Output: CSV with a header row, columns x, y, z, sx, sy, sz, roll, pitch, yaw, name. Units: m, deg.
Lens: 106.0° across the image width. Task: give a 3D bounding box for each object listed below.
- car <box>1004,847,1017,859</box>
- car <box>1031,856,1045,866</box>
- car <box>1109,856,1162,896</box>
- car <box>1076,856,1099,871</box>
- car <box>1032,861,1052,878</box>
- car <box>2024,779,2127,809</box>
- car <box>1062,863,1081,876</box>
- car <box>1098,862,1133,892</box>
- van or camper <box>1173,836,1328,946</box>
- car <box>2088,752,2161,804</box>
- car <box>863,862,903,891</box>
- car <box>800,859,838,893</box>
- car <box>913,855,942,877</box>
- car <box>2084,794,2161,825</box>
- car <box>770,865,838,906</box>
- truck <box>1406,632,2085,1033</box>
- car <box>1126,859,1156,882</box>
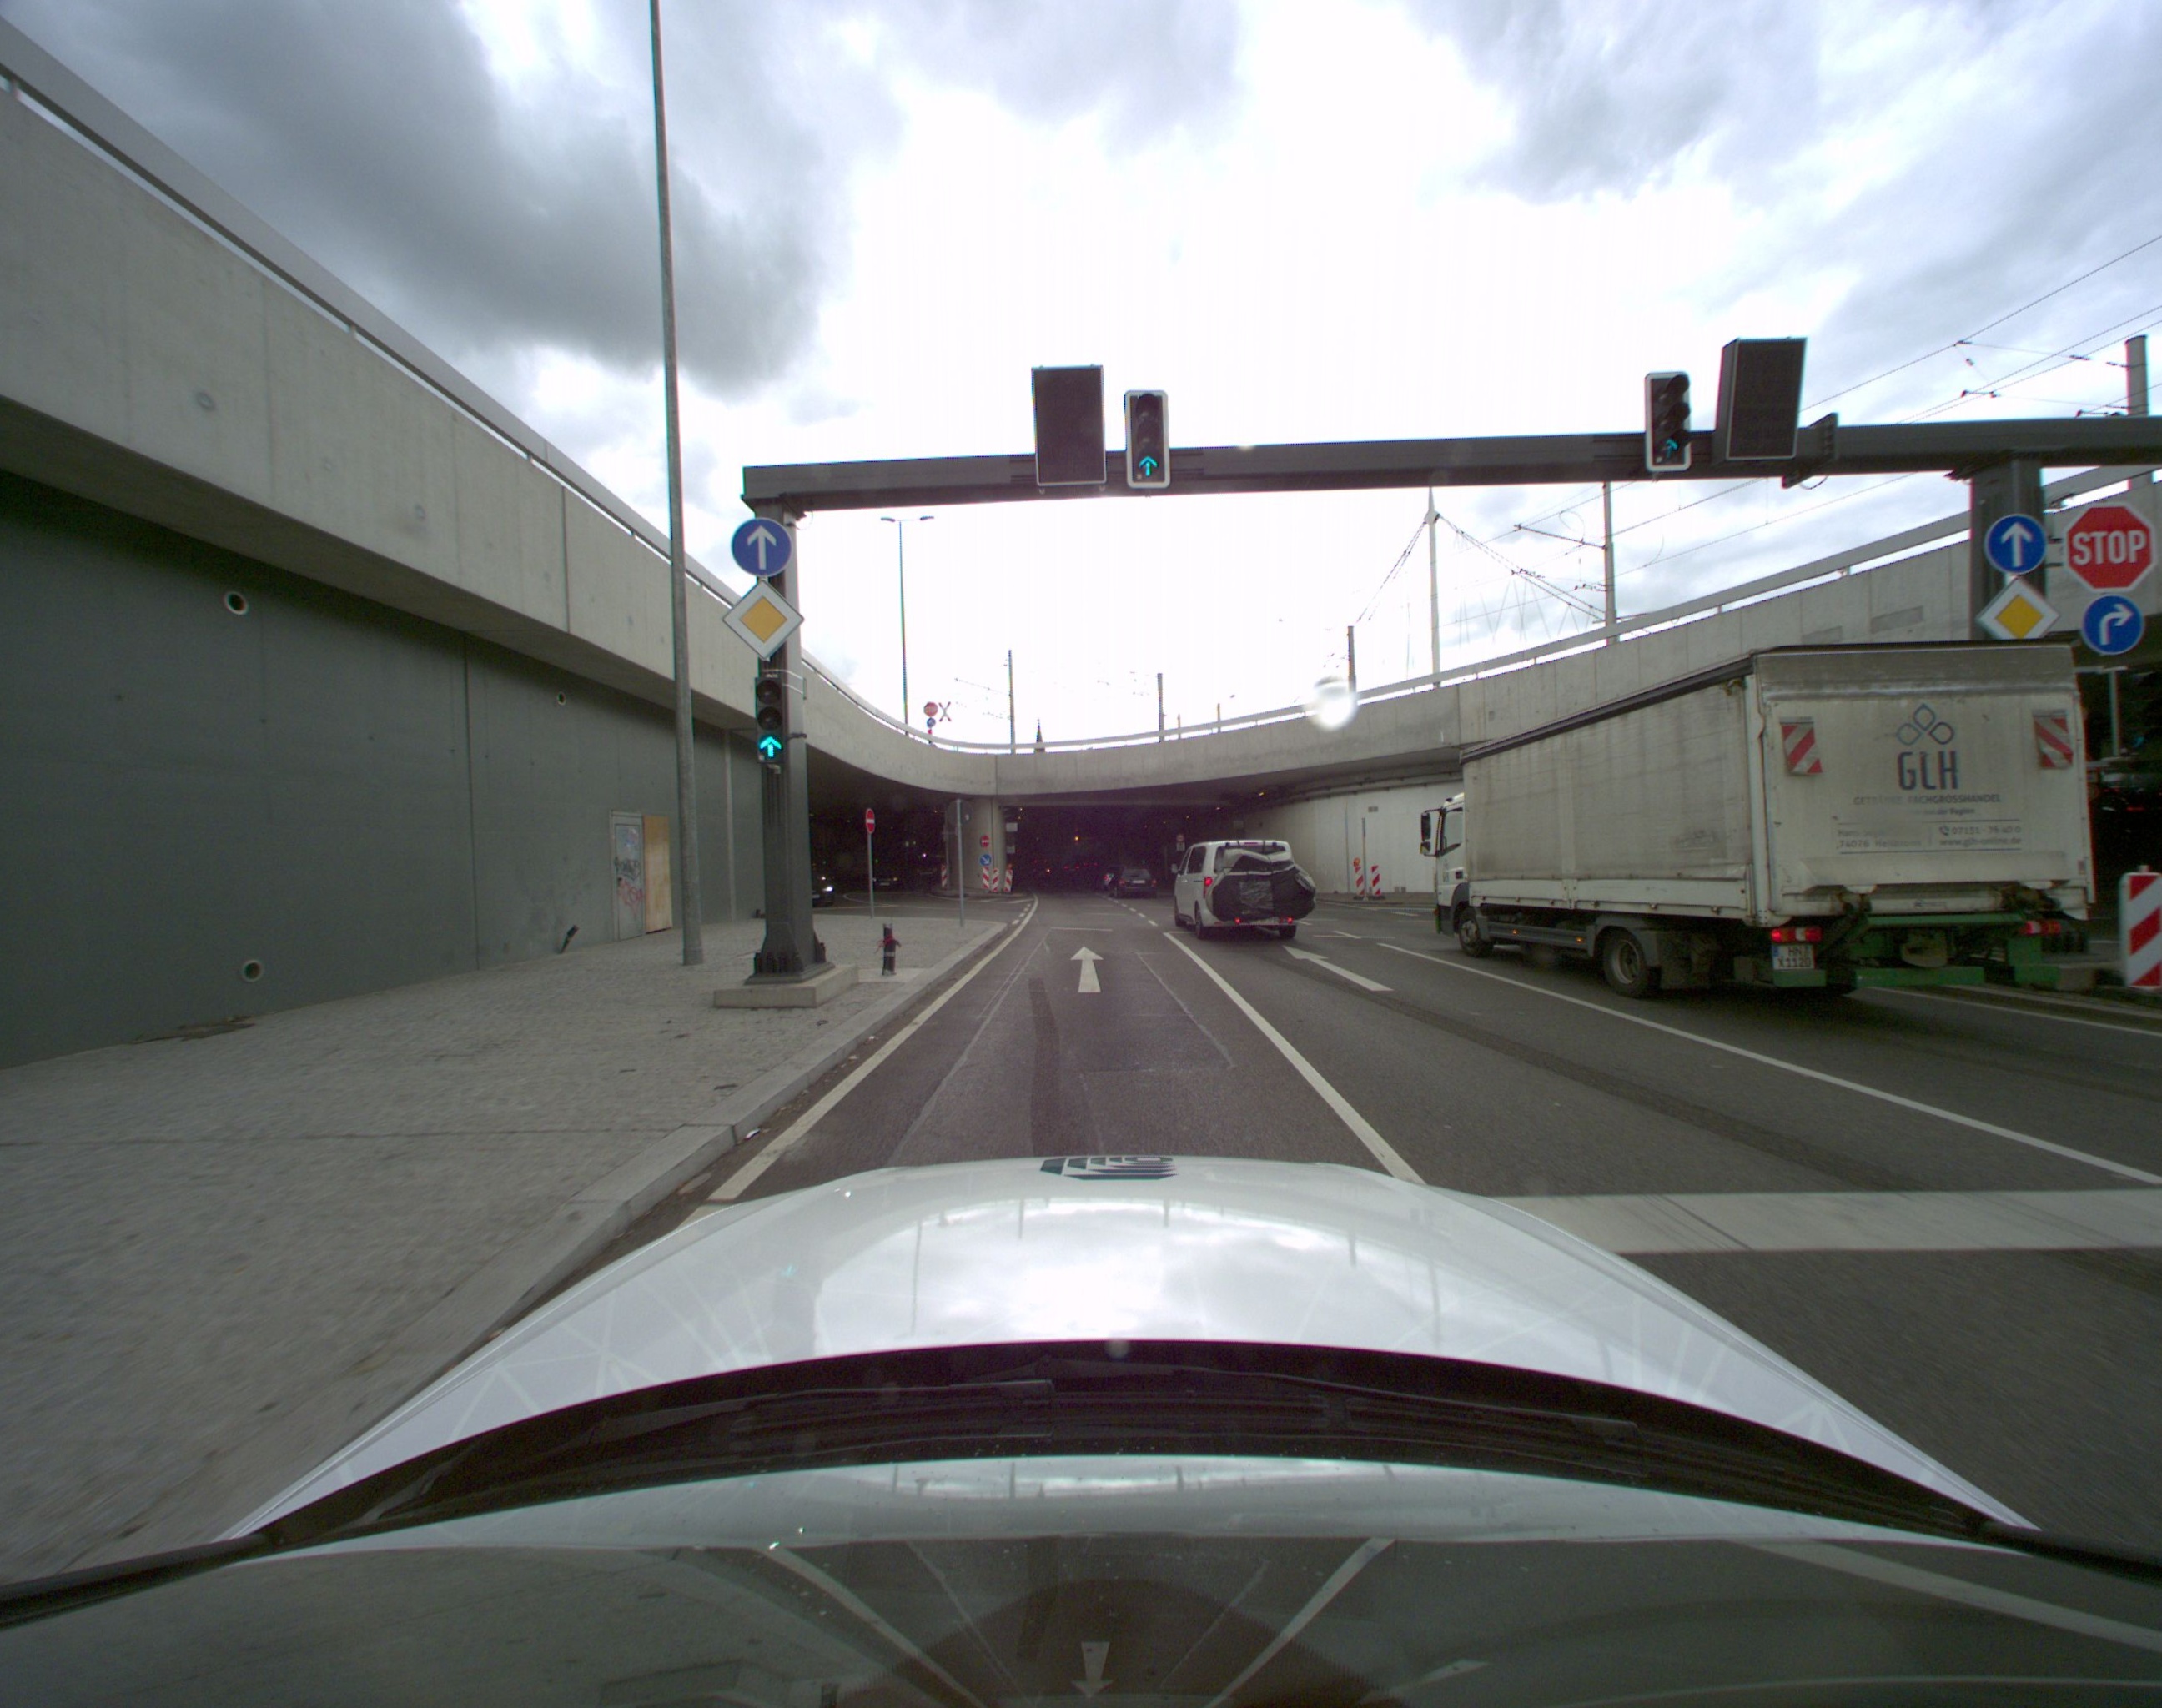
x,y,z,sx,sy,sz,roll,pitch,yaw,name
-12.801,-0.152,148.375,1.994,2.013,3.986,-2,0,-10,car
-5.973,0.952,111.742,1.508,1.247,3.555,-1,0,-10,car
2.329,0.958,35.730,1.815,1.684,3.994,0,-1,-3,car
0.737,1.101,94.751,1.988,1.676,4.496,-1,-1,-8,car
-3.563,1.402,73.937,1.657,1.488,3.560,-1,-1,-5,car
60.306,-3.689,49.506,1.830,1.656,4.382,-1,5,17,car
-1.000,1.611,84.655,1.661,1.247,3.560,-1,-1,-5,car
1.989,1.315,47.918,1.813,1.580,3.999,3,0,0,car
3.169,0.670,16.476,1.987,1.845,5.506,0,-1,0,van or camper
63.832,-4.576,48.810,1.980,2.917,4.455,-2,5,13,car
-11.213,1.229,45.978,1.671,1.441,4.083,-1,0,-22,car
-14.038,1.152,43.786,1.797,1.599,4.305,1,1,-16,car
-12.196,0.929,65.092,1.805,1.604,4.778,-1,1,-6,car
52.361,-2.234,40.490,1.668,1.333,3.691,-2,4,24,car
-10.989,1.189,32.095,1.861,1.443,4.801,-1,0,-27,car
6.849,-0.187,10.304,2.640,3.185,7.428,-1,0,1,truck
4.565,1.234,62.207,1.657,1.634,3.561,3,0,-5,car
